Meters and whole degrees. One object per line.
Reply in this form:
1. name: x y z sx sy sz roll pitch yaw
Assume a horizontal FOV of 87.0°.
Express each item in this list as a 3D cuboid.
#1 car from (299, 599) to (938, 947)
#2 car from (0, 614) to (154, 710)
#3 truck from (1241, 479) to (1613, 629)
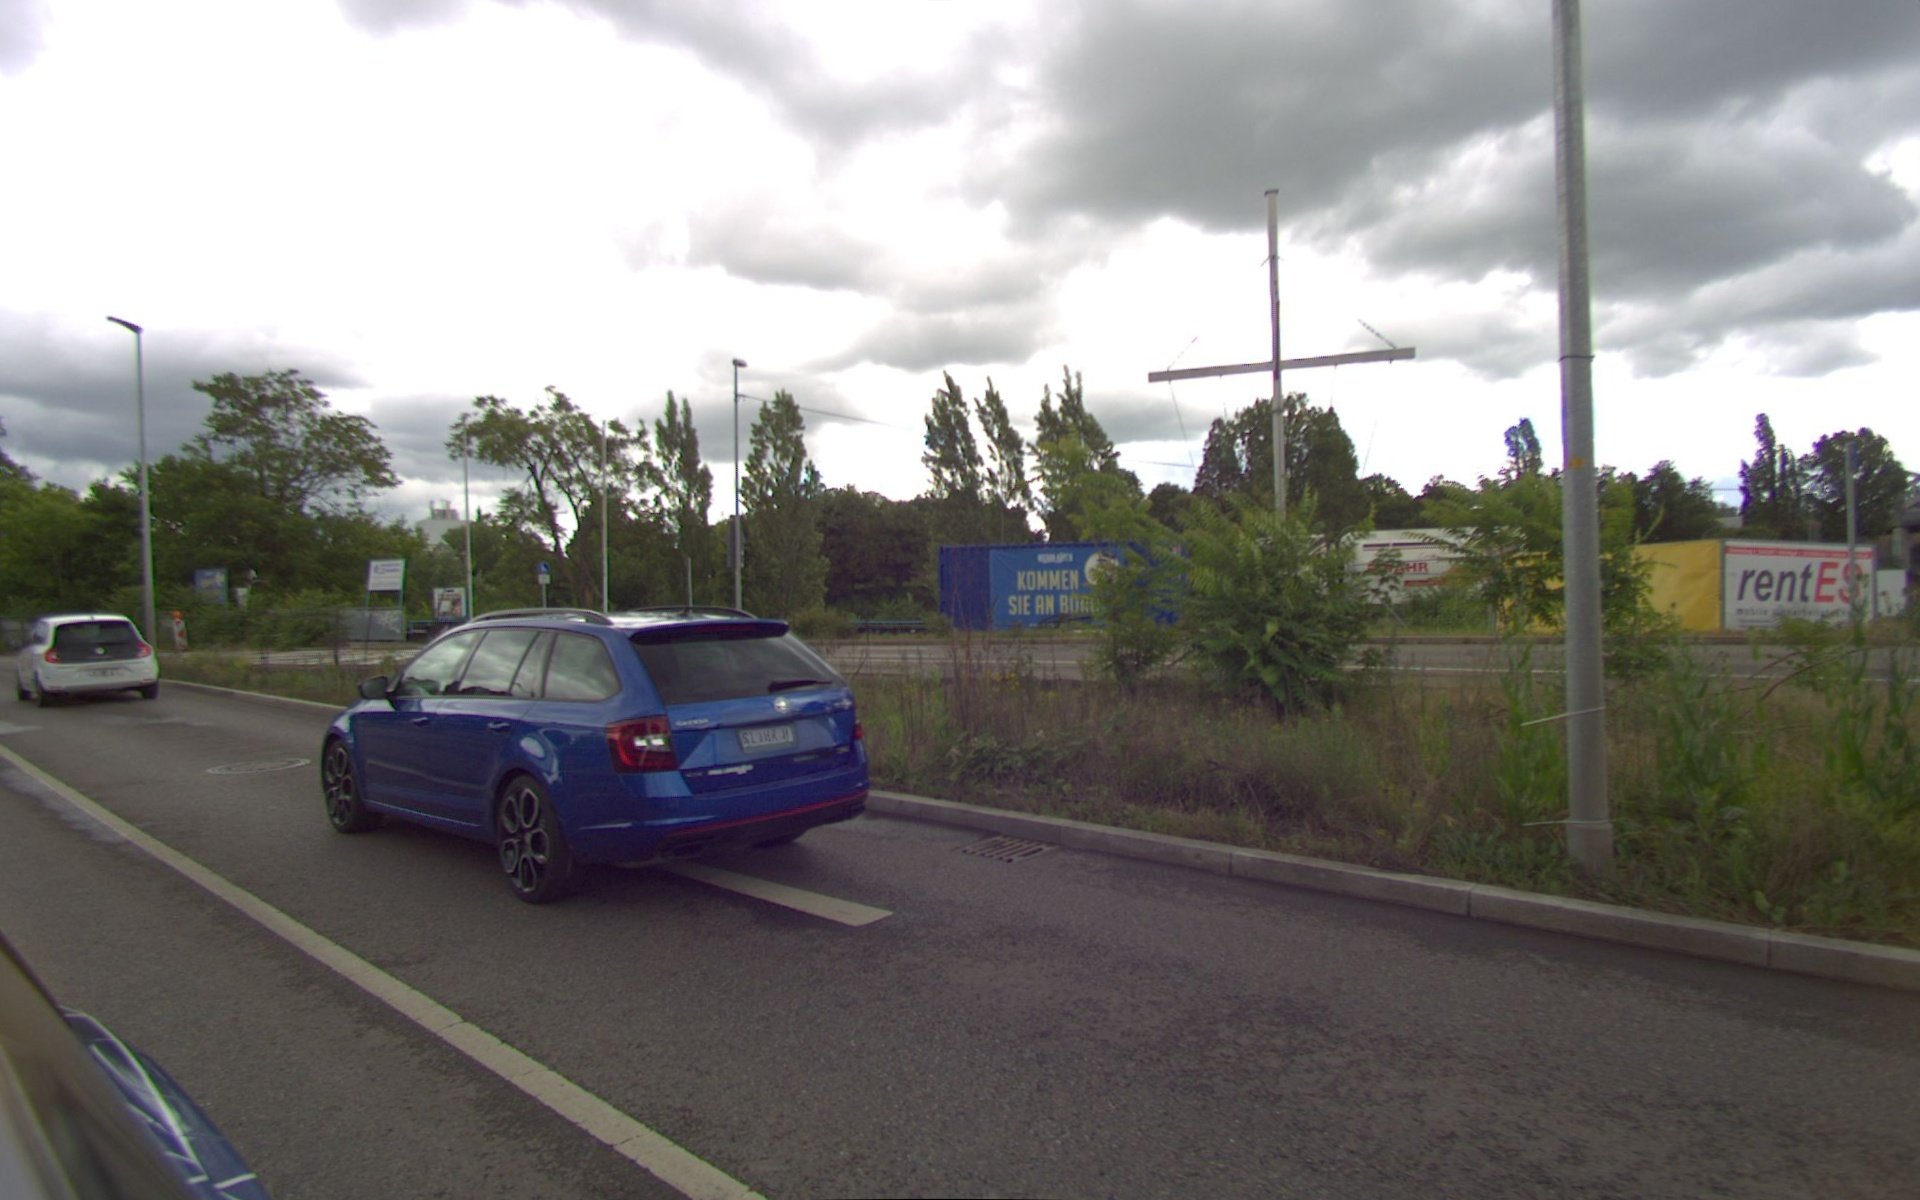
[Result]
1. car: -2.363 0.745 6.268 4.441 1.432 1.712 -1 -1 40
2. car: -16.279 1.059 18.542 4.082 1.528 1.575 -1 1 40
3. truck: 11.977 -1.068 26.903 8.394 3.361 2.790 -3 -2 13
